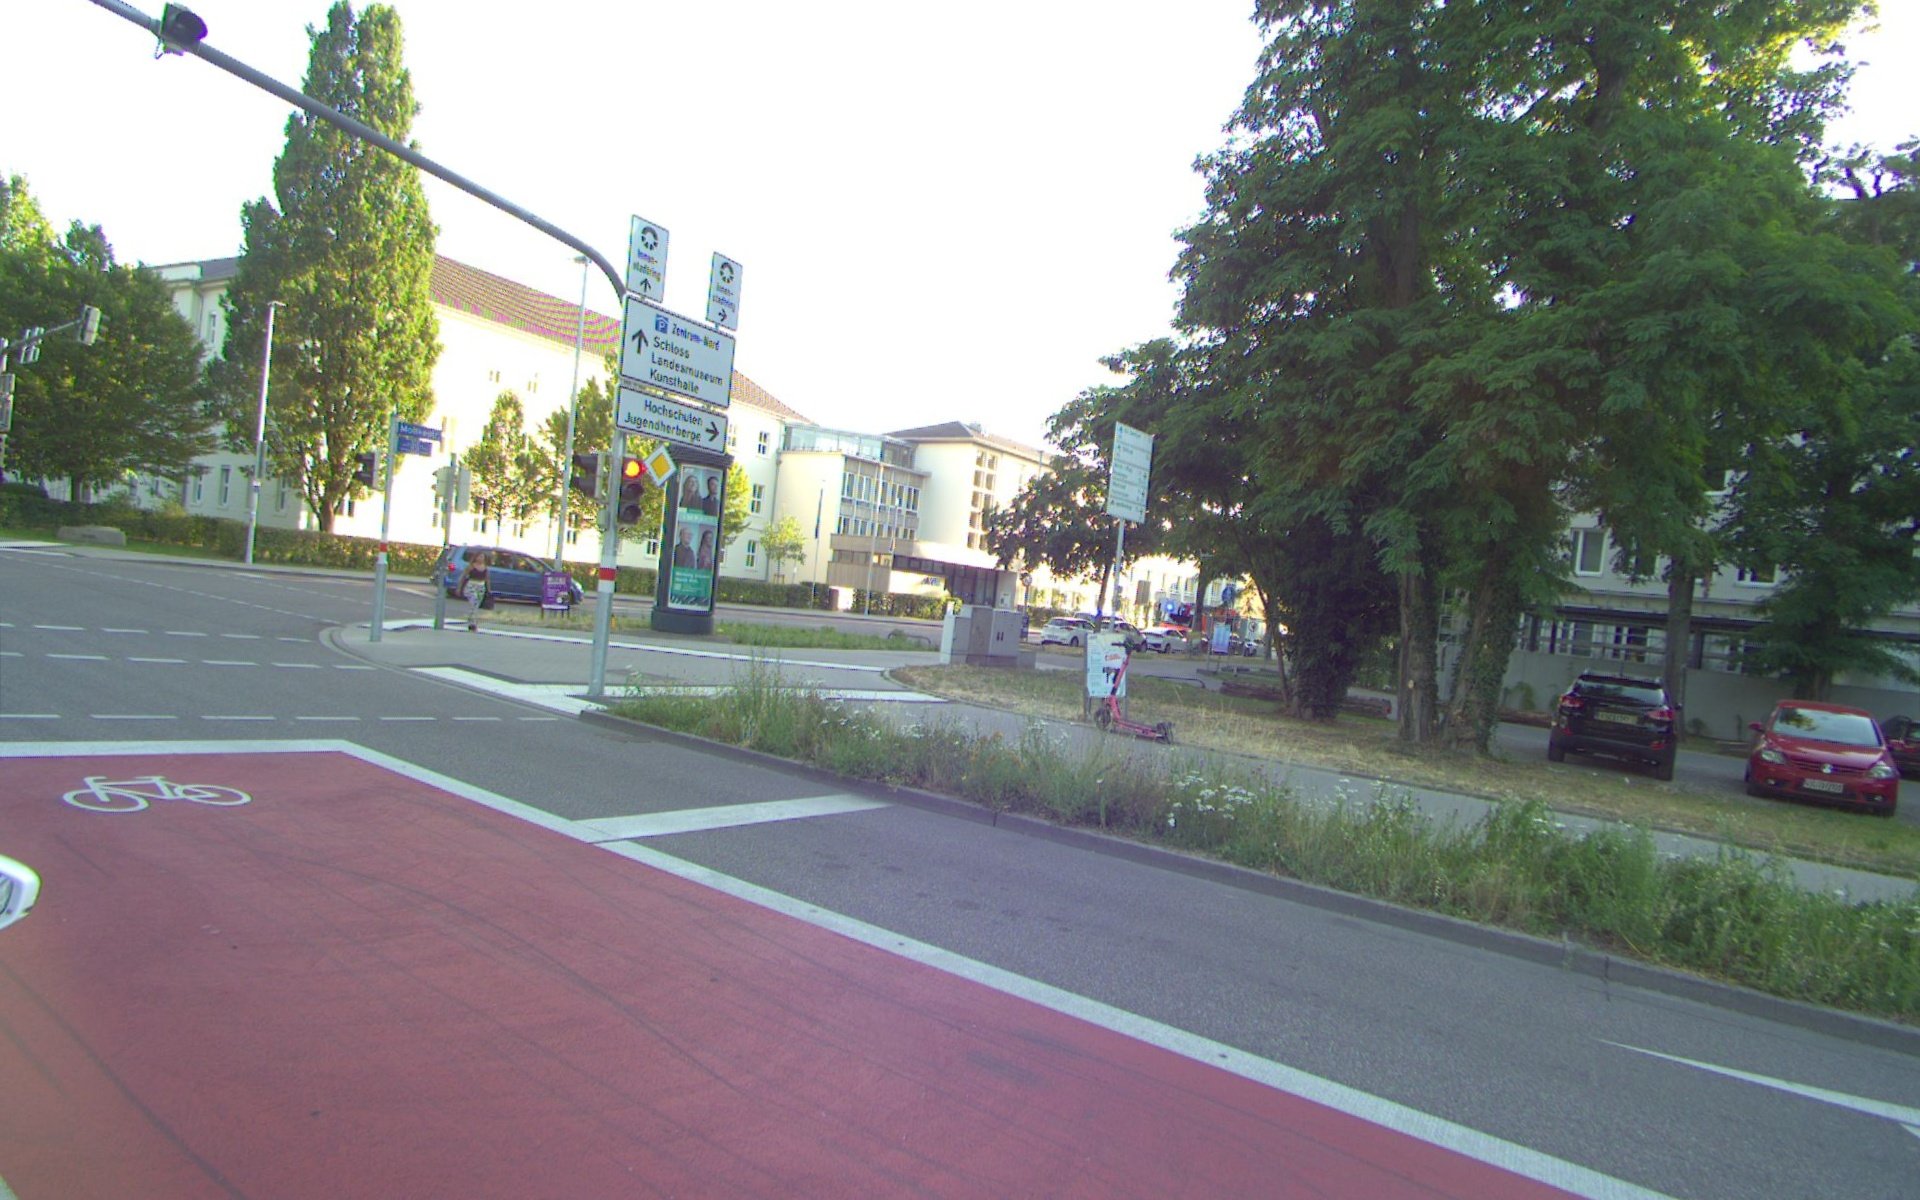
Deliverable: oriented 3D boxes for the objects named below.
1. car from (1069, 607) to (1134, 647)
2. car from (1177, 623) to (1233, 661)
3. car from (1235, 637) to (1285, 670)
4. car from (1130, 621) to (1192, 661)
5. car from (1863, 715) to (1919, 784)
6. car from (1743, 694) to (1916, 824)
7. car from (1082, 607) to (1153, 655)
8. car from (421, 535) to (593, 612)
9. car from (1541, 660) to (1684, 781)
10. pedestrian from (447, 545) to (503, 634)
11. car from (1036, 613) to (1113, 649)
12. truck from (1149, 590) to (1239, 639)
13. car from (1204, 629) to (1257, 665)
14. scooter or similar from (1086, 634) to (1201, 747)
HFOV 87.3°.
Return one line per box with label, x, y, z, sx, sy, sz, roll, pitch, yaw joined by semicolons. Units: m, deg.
car;7.805;1.505;55.242;1.720;1.783;3.989;7;-1;35
car;14.596;2.497;59.726;1.698;1.879;3.989;7;-1;35
car;20.360;3.658;68.234;1.873;1.831;3.988;7;-1;36
car;11.063;2.270;55.103;1.720;1.783;3.989;7;-1;35
car;23.172;3.621;24.031;1.873;1.459;3.987;7;-1;37
car;13.987;2.454;16.400;1.759;1.581;3.984;7;0;38
car;8.055;1.586;51.185;1.713;2.038;3.988;7;-1;36
car;-13.612;-0.762;30.402;1.831;1.742;4.270;10;2;45
car;11.758;2.110;18.061;1.808;1.715;3.899;7;-1;36
pedestrian;-9.708;-0.207;20.140;0.680;1.656;0.600;8;1;35
car;5.468;1.493;47.705;1.793;1.358;3.985;6;0;37
truck;15.848;1.062;67.461;2.327;2.315;10.049;7;-1;34
car;17.211;3.033;63.856;1.789;1.893;4.136;7;-1;35
scooter or similar;2.323;1.136;12.804;1.289;1.247;0.311;7;1;32
